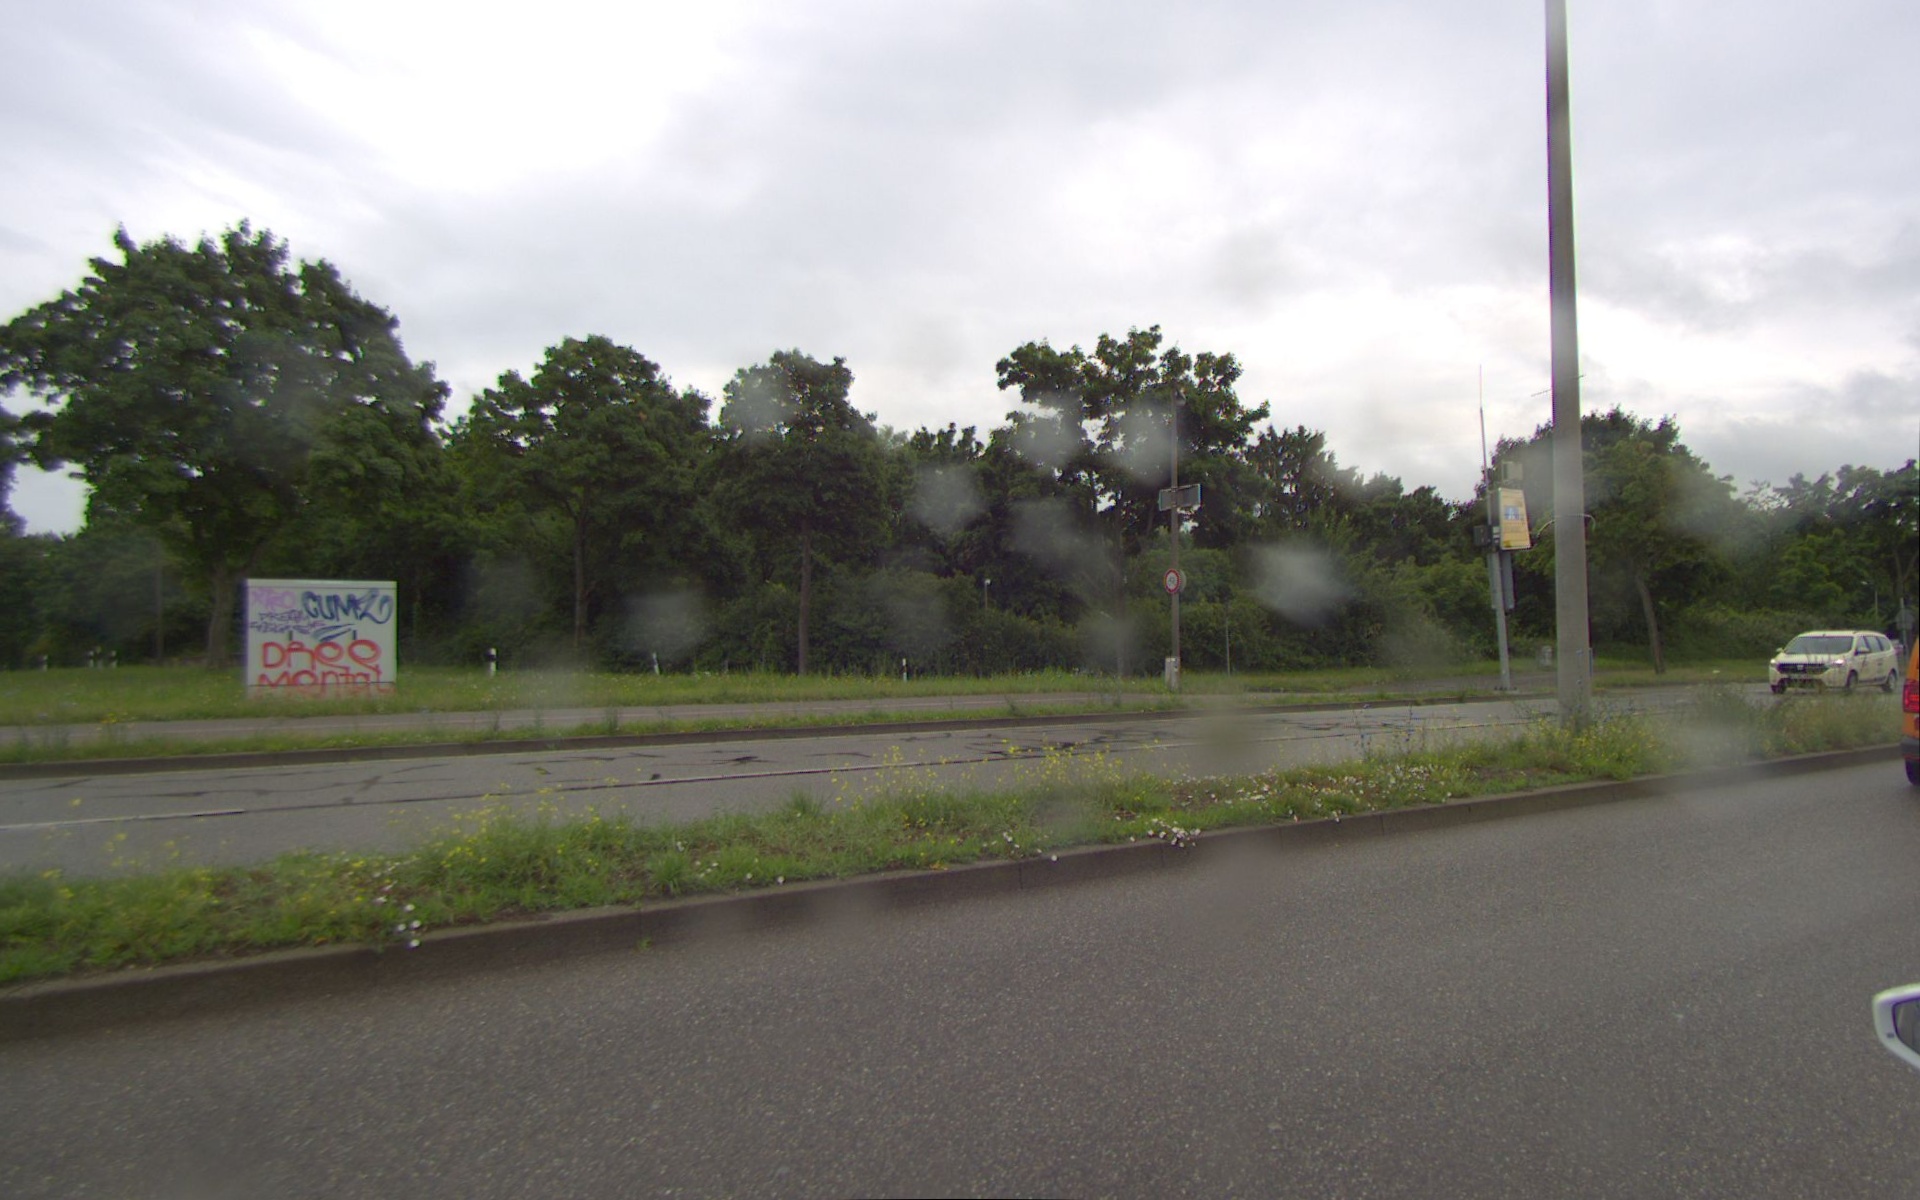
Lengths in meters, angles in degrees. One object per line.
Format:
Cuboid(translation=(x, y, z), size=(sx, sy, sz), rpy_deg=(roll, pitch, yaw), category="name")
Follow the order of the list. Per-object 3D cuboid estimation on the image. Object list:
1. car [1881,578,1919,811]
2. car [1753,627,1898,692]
Cuboid(translation=(10.800, 0.878, 9.538), size=(4.793, 2.045, 1.726), rpy_deg=(2, -2, -31), category="car")
Cuboid(translation=(23.611, 1.593, 27.371), size=(4.441, 1.651, 1.699), rpy_deg=(1, -4, -32), category="car")
